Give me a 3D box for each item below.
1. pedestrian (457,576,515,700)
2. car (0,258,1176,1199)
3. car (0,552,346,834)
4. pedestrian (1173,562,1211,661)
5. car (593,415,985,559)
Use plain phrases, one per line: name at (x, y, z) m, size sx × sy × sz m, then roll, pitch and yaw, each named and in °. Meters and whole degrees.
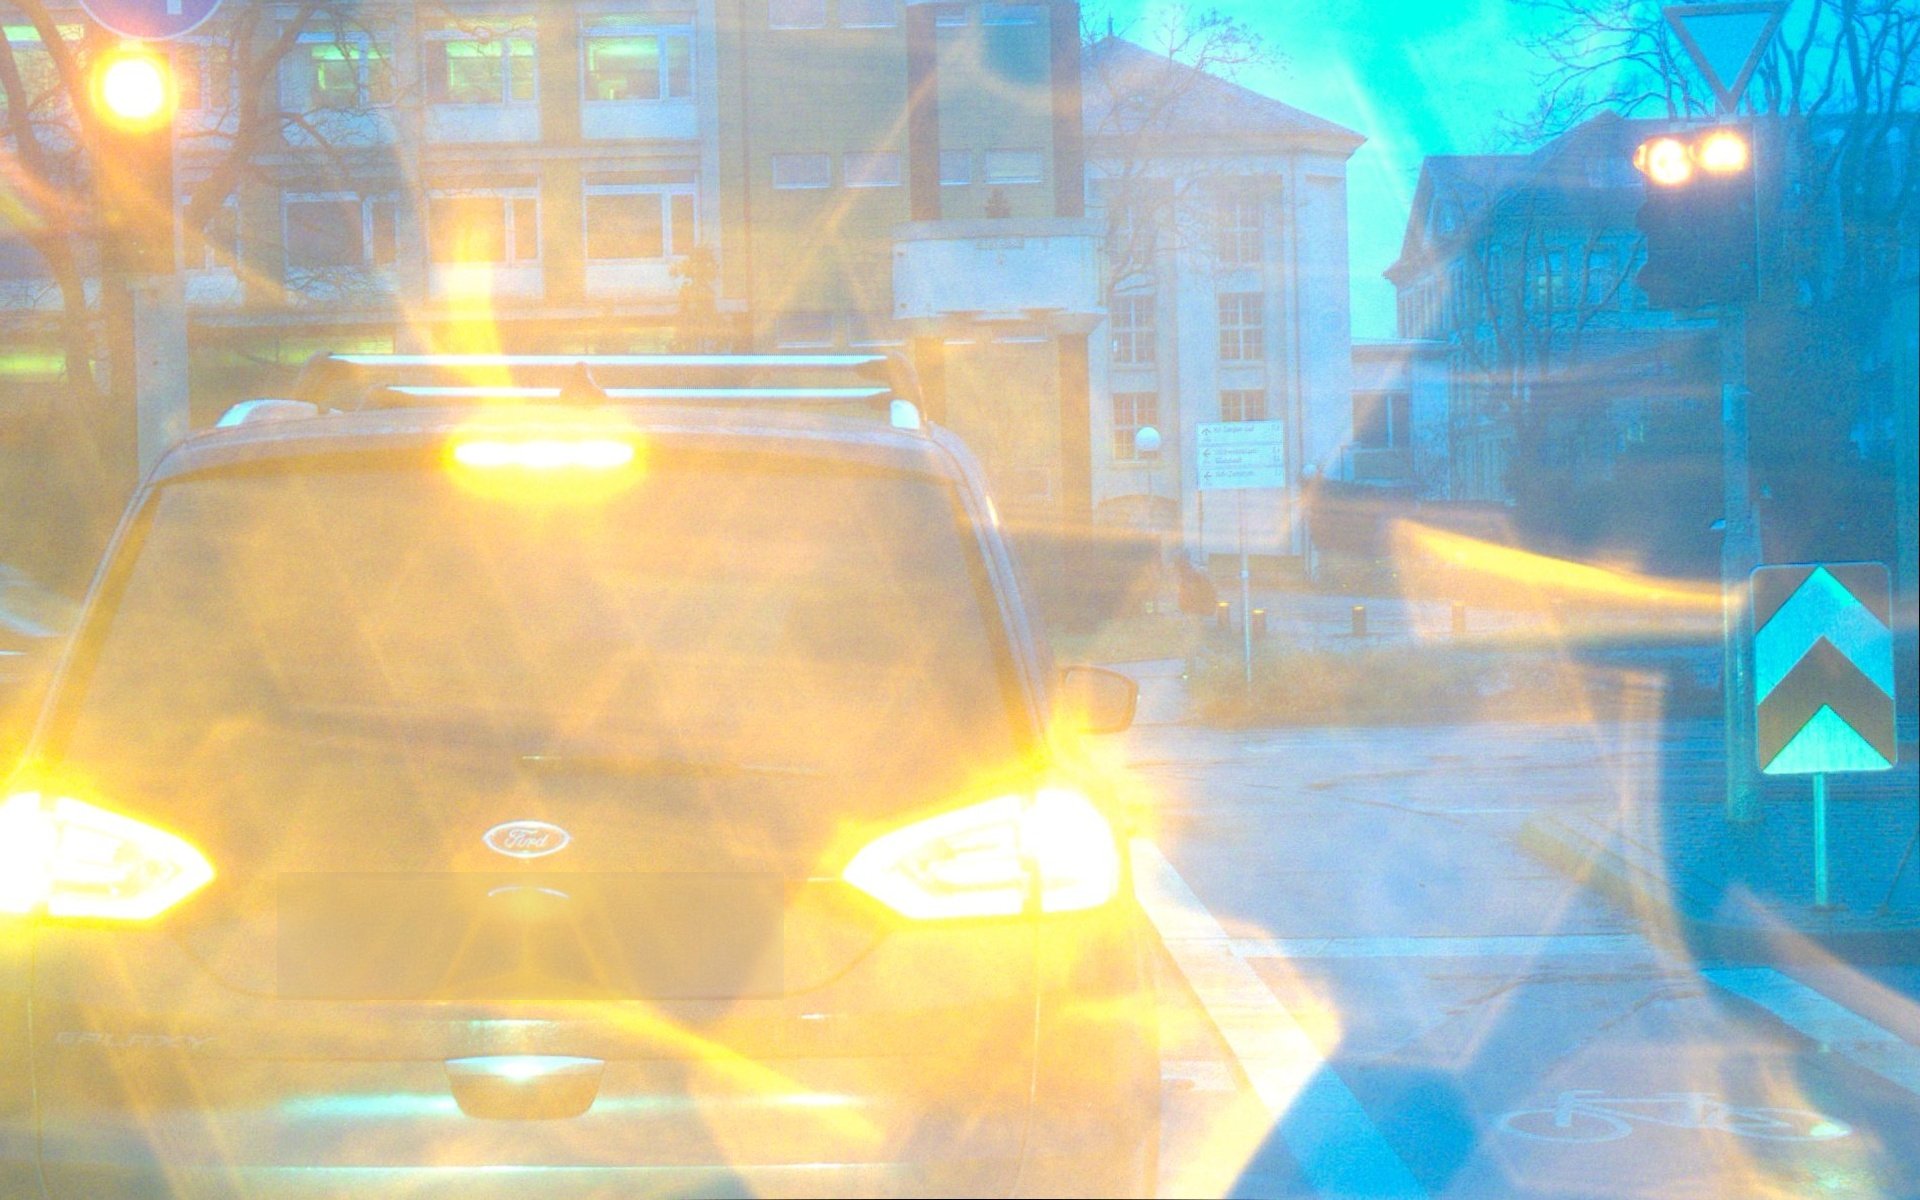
pedestrian at (-6.423, 0.514, 46.599) m, size 0.646 × 1.660 × 0.562 m, roll 0°, pitch -1°, yaw 7°
car at (-0.563, 0.410, 6.574) m, size 1.647 × 1.812 × 4.000 m, roll 0°, pitch 1°, yaw -1°
car at (-6.130, 0.564, 21.695) m, size 4.067 × 1.678 × 1.759 m, roll 0°, pitch -1°, yaw 11°
pedestrian at (2.989, 0.149, 44.301) m, size 0.432 × 1.266 × 0.441 m, roll 0°, pitch -1°, yaw 11°
car at (-2.482, -1.646, 50.837) m, size 5.548 × 2.017 × 1.999 m, roll 0°, pitch -1°, yaw 6°
